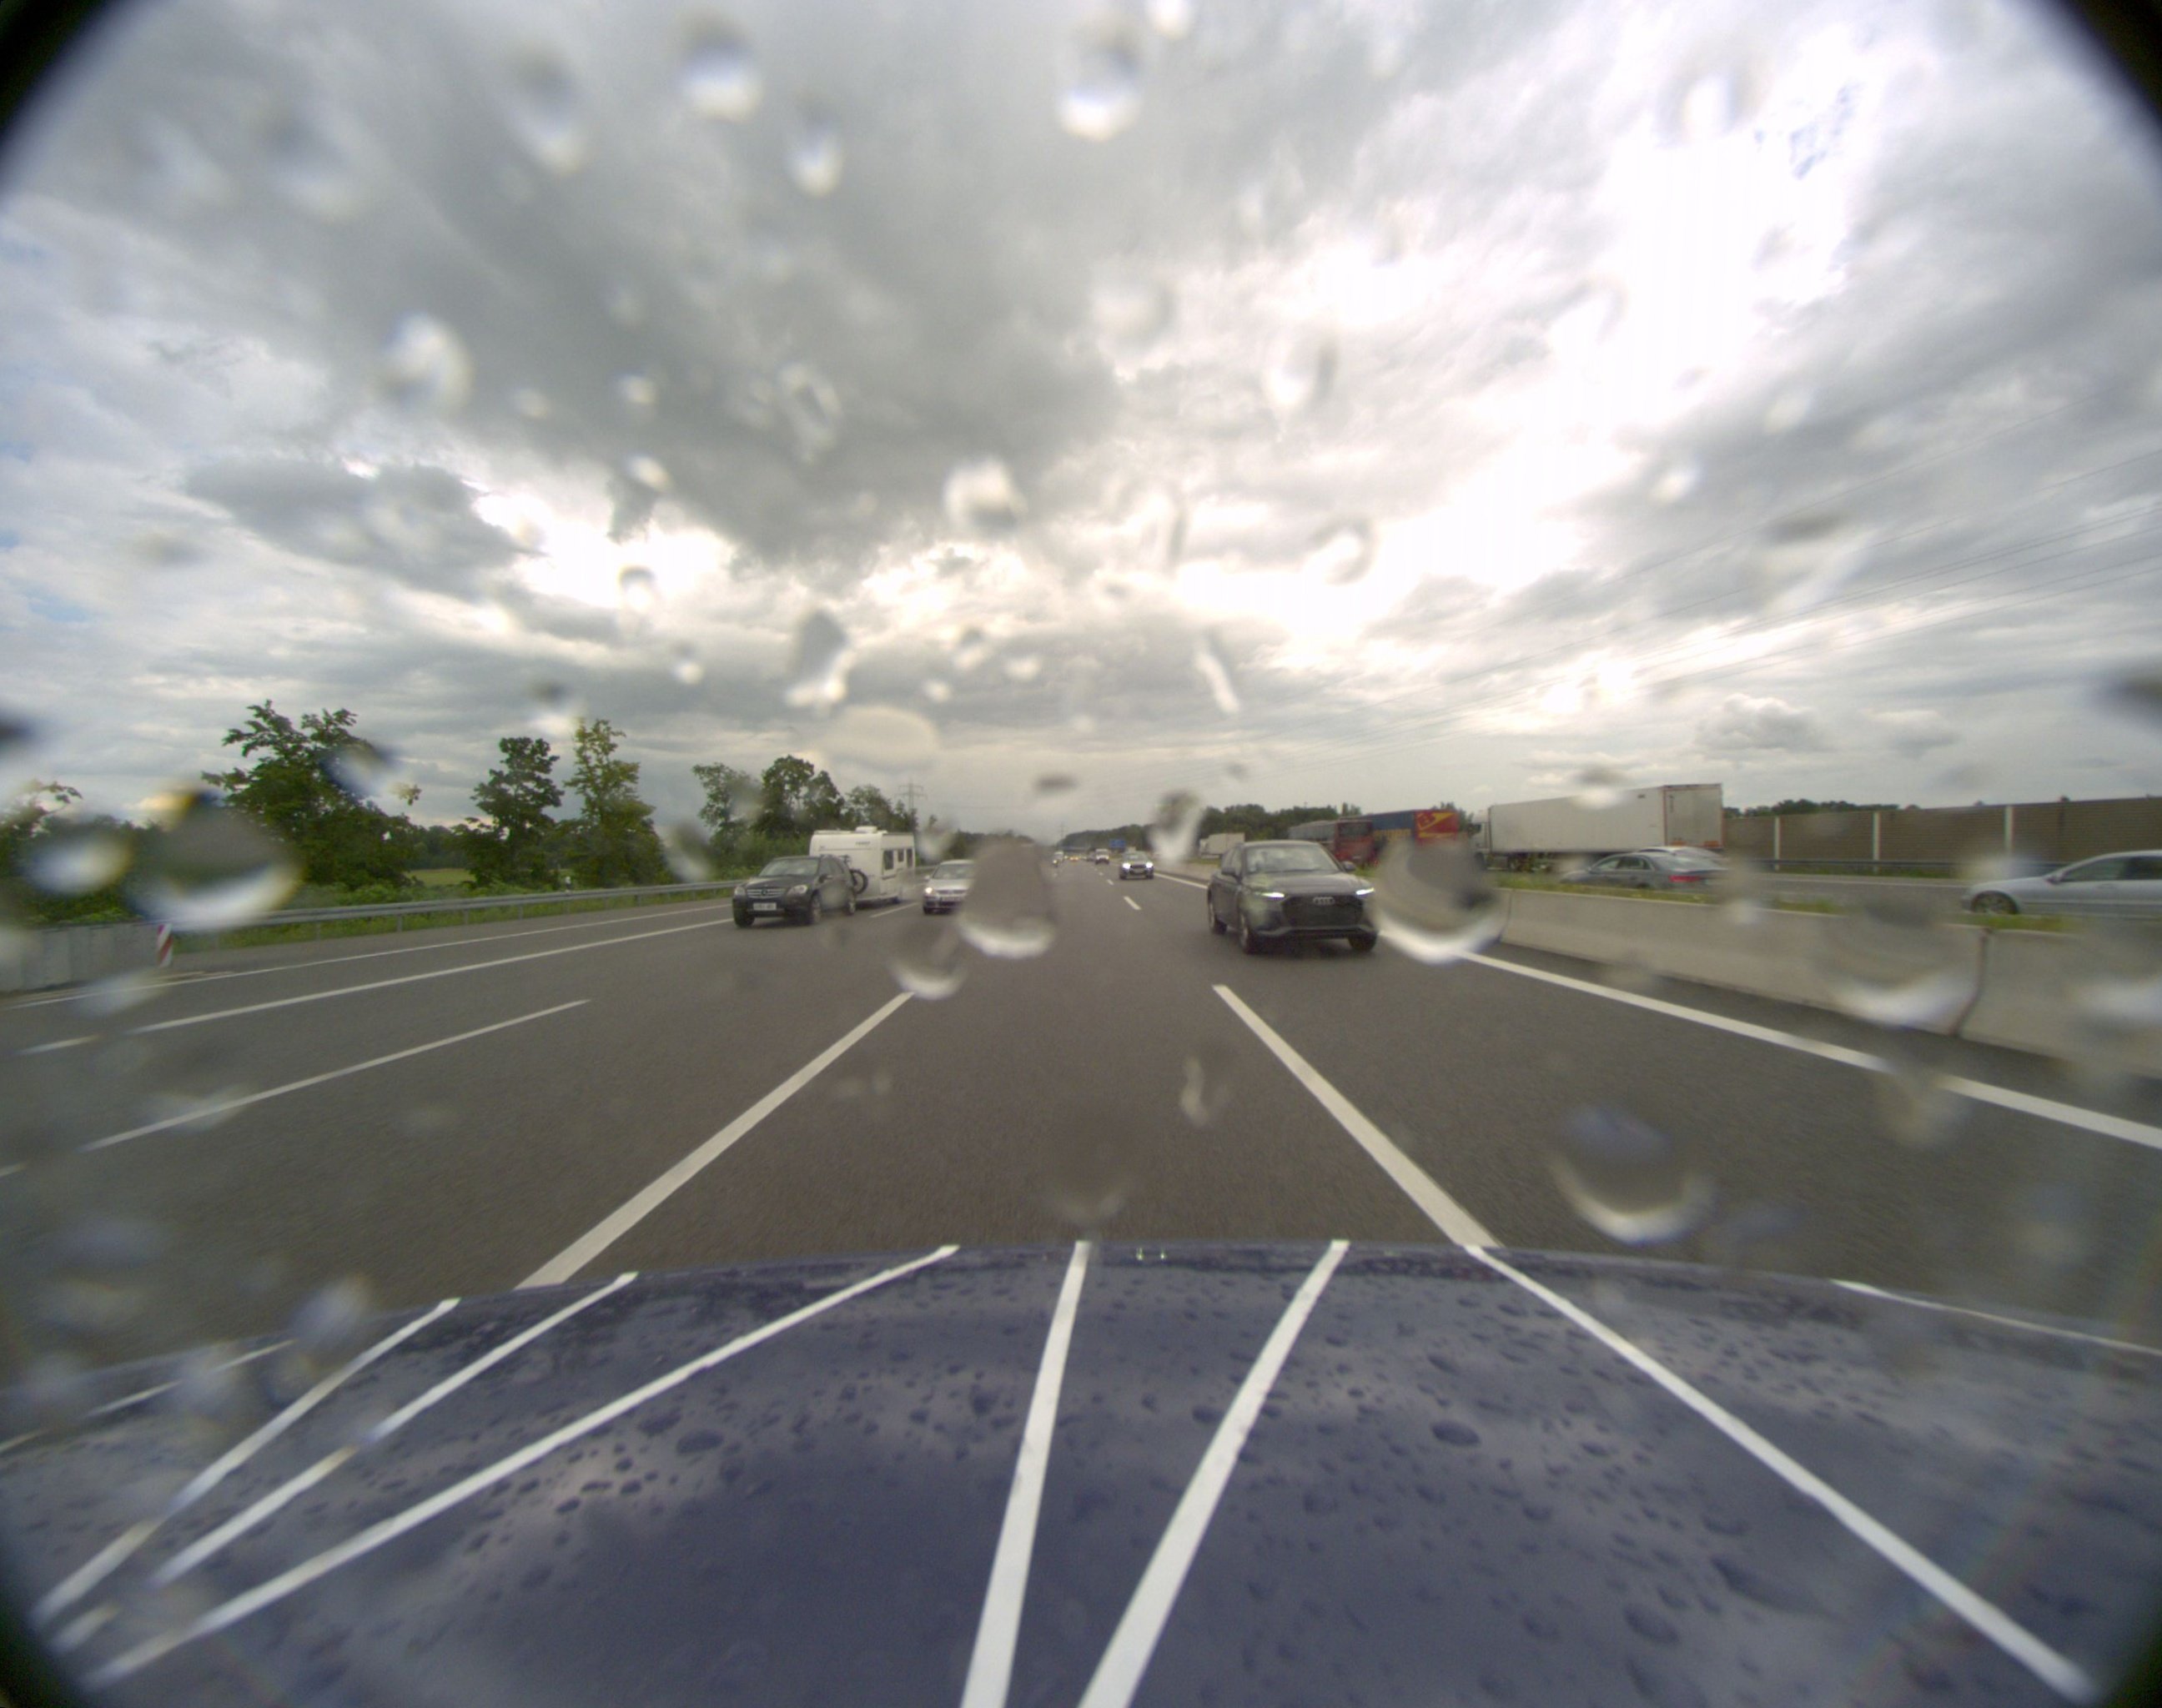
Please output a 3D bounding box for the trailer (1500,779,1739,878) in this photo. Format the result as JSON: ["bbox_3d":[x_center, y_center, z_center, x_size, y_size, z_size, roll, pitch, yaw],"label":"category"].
[{"bbox_3d":[26.245,-1.105,38.410,2.907,4.092,12.697,-2,0,0],"label":"trailer"}]

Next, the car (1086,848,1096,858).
[{"bbox_3d":[2.074,-0.223,164.167,1.999,2.002,3.999,-2,0,-1],"label":"car"}]

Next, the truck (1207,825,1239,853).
[{"bbox_3d":[21.912,-2.244,117.639,3.669,4.024,6.524,-2,0,1],"label":"truck"}]

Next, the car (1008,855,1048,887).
[{"bbox_3d":[-2.672,0.831,38.839,1.717,1.437,3.999,-2,0,0],"label":"car"}]

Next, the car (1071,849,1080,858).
[{"bbox_3d":[-1.230,-0.180,177.289,1.999,2.002,3.999,-2,0,-1],"label":"car"}]

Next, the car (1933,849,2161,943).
[{"bbox_3d":[17.832,0.656,12.683,1.721,1.418,4.860,-2,0,0],"label":"car"}]

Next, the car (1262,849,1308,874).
[{"bbox_3d":[13.691,0.449,51.254,1.792,1.524,4.564,-2,0,0],"label":"car"}]

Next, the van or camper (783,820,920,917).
[{"bbox_3d":[-7.444,0.405,25.752,2.390,2.723,7.208,-2,0,0],"label":"van or camper"}]

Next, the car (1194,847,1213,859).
[{"bbox_3d":[17.299,-0.157,107.089,1.792,1.553,4.564,-2,0,-1],"label":"car"}]

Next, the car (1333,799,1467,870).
[{"bbox_3d":[21.357,-1.218,52.346,2.990,4.100,14.393,-2,0,0],"label":"car"}]

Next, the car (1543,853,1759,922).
[{"bbox_3d":[13.948,0.732,19.045,1.721,1.418,4.860,-2,0,0],"label":"car"}]

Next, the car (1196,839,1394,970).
[{"bbox_3d":[3.226,0.655,12.641,1.913,1.681,5.168,-2,0,2],"label":"car"}]

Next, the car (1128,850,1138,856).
[{"bbox_3d":[13.237,-0.297,194.033,1.999,1.517,4.740,-2,0,-2],"label":"car"}]

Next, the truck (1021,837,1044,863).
[{"bbox_3d":[-7.360,-0.568,116.221,2.870,3.633,9.593,-2,0,0],"label":"truck"}]

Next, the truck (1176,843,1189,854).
[{"bbox_3d":[24.859,-1.364,186.449,2.108,2.437,6.263,-2,0,-1],"label":"truck"}]

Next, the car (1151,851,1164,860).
[{"bbox_3d":[13.270,0.287,131.902,1.792,1.446,4.564,-2,0,-1],"label":"car"}]

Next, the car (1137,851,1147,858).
[{"bbox_3d":[13.238,0.183,164.877,1.792,1.446,4.564,-2,0,-1],"label":"car"}]

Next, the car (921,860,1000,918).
[{"bbox_3d":[-3.444,0.958,22.389,1.683,1.437,3.999,-2,0,0],"label":"car"}]

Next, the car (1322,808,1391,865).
[{"bbox_3d":[21.301,-1.292,59.187,2.990,4.126,6.041,-2,1,0],"label":"car"}]

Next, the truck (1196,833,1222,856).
[{"bbox_3d":[25.983,-1.876,154.843,3.670,4.294,8.236,-2,0,0],"label":"truck"}]

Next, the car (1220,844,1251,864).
[{"bbox_3d":[13.885,-0.020,68.549,1.792,1.656,4.295,-2,0,0],"label":"car"}]

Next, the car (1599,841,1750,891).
[{"bbox_3d":[21.226,0.384,27.463,1.792,1.582,4.581,-2,0,0],"label":"car"}]

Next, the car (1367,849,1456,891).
[{"bbox_3d":[13.353,0.583,30.941,1.721,1.514,4.212,-2,0,0],"label":"car"}]

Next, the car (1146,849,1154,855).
[{"bbox_3d":[20.299,-0.606,222.371,1.770,1.446,4.942,-2,0,-1],"label":"car"}]

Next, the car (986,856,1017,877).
[{"bbox_3d":[-5.952,0.921,57.352,1.841,1.437,3.999,-2,0,0],"label":"car"}]

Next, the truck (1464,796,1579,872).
[{"bbox_3d":[26.161,-1.140,45.595,2.907,4.092,6.621,-2,0,0],"label":"truck"}]

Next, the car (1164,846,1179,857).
[{"bbox_3d":[17.772,-0.541,148.831,2.286,1.956,6.086,-2,0,2],"label":"car"}]

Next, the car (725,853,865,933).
[{"bbox_3d":[-7.273,0.900,19.879,1.925,1.766,4.502,-2,0,0],"label":"car"}]

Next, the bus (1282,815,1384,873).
[{"bbox_3d":[17.814,-0.701,54.975,2.897,3.590,12.757,-2,0,0],"label":"bus"}]

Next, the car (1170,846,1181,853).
[{"bbox_3d":[20.966,-0.895,168.463,1.792,1.460,4.564,-2,0,-1],"label":"car"}]

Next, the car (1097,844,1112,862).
[{"bbox_3d":[3.520,-0.160,113.701,1.999,2.524,4.807,-2,0,-1],"label":"car"}]

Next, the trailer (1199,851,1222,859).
[{"bbox_3d":[17.399,0.106,102.418,2.098,1.064,4.759,-2,0,-1],"label":"trailer"}]

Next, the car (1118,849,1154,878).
[{"bbox_3d":[3.217,0.528,45.244,1.840,1.615,4.915,-2,0,2],"label":"car"}]

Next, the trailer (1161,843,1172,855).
[{"bbox_3d":[22.887,-1.300,204.409,2.253,2.945,4.900,-2,0,-1],"label":"trailer"}]

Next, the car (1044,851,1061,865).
[{"bbox_3d":[-3.582,0.504,97.093,1.999,1.701,3.999,-2,0,-1],"label":"car"}]

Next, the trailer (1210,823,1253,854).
[{"bbox_3d":[21.831,-2.206,111.066,3.669,4.084,13.398,-2,0,1],"label":"trailer"}]

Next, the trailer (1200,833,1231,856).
[{"bbox_3d":[26.051,-1.778,148.178,3.670,4.212,12.465,-2,0,0],"label":"trailer"}]
